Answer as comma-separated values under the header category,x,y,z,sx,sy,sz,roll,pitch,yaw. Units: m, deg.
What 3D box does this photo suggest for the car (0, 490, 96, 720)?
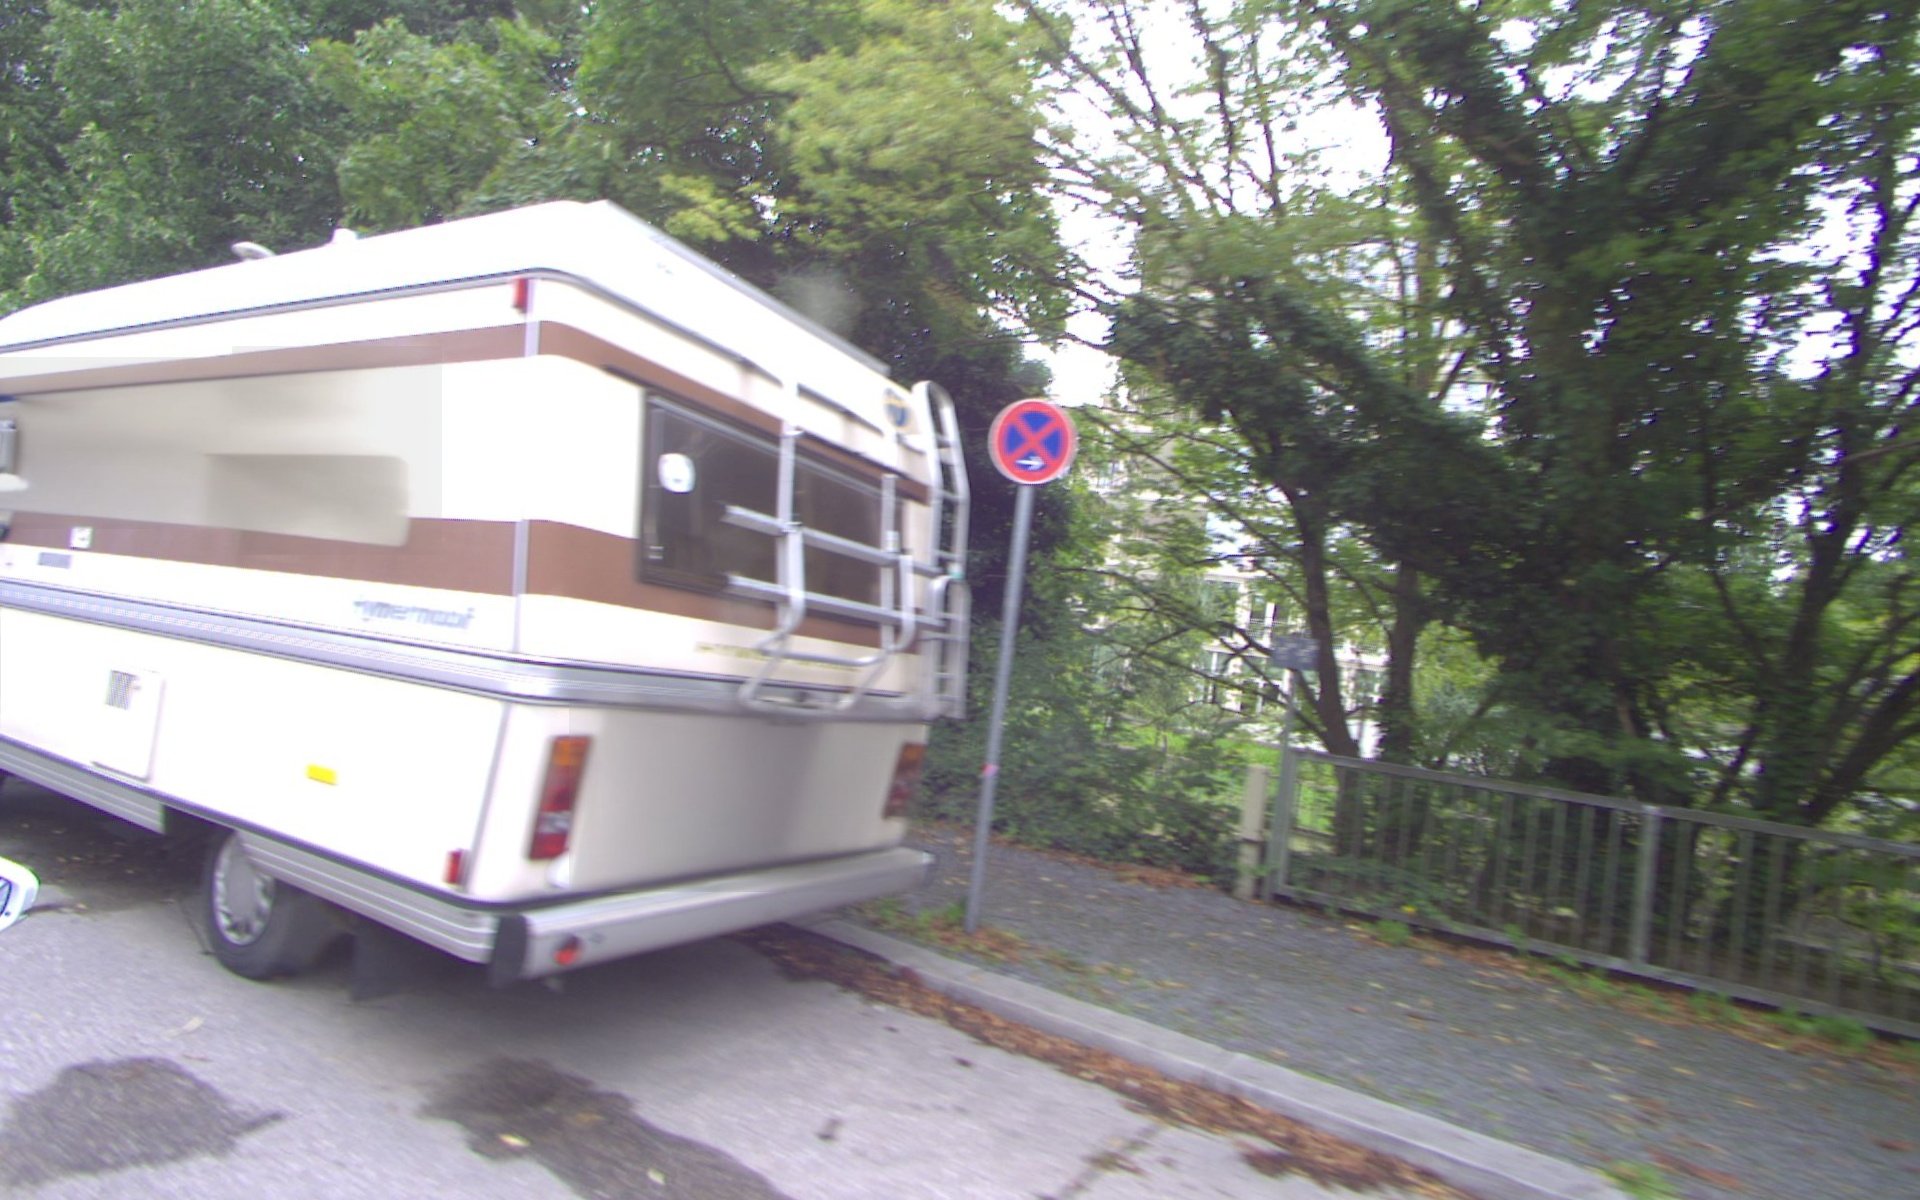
category,x,y,z,sx,sy,sz,roll,pitch,yaw
car,-9.162,-0.229,7.812,4.379,1.667,1.784,6,-4,23

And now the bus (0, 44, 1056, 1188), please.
category,x,y,z,sx,sy,sz,roll,pitch,yaw
bus,-2.735,-0.090,4.798,5.637,2.728,2.322,6,-4,30
